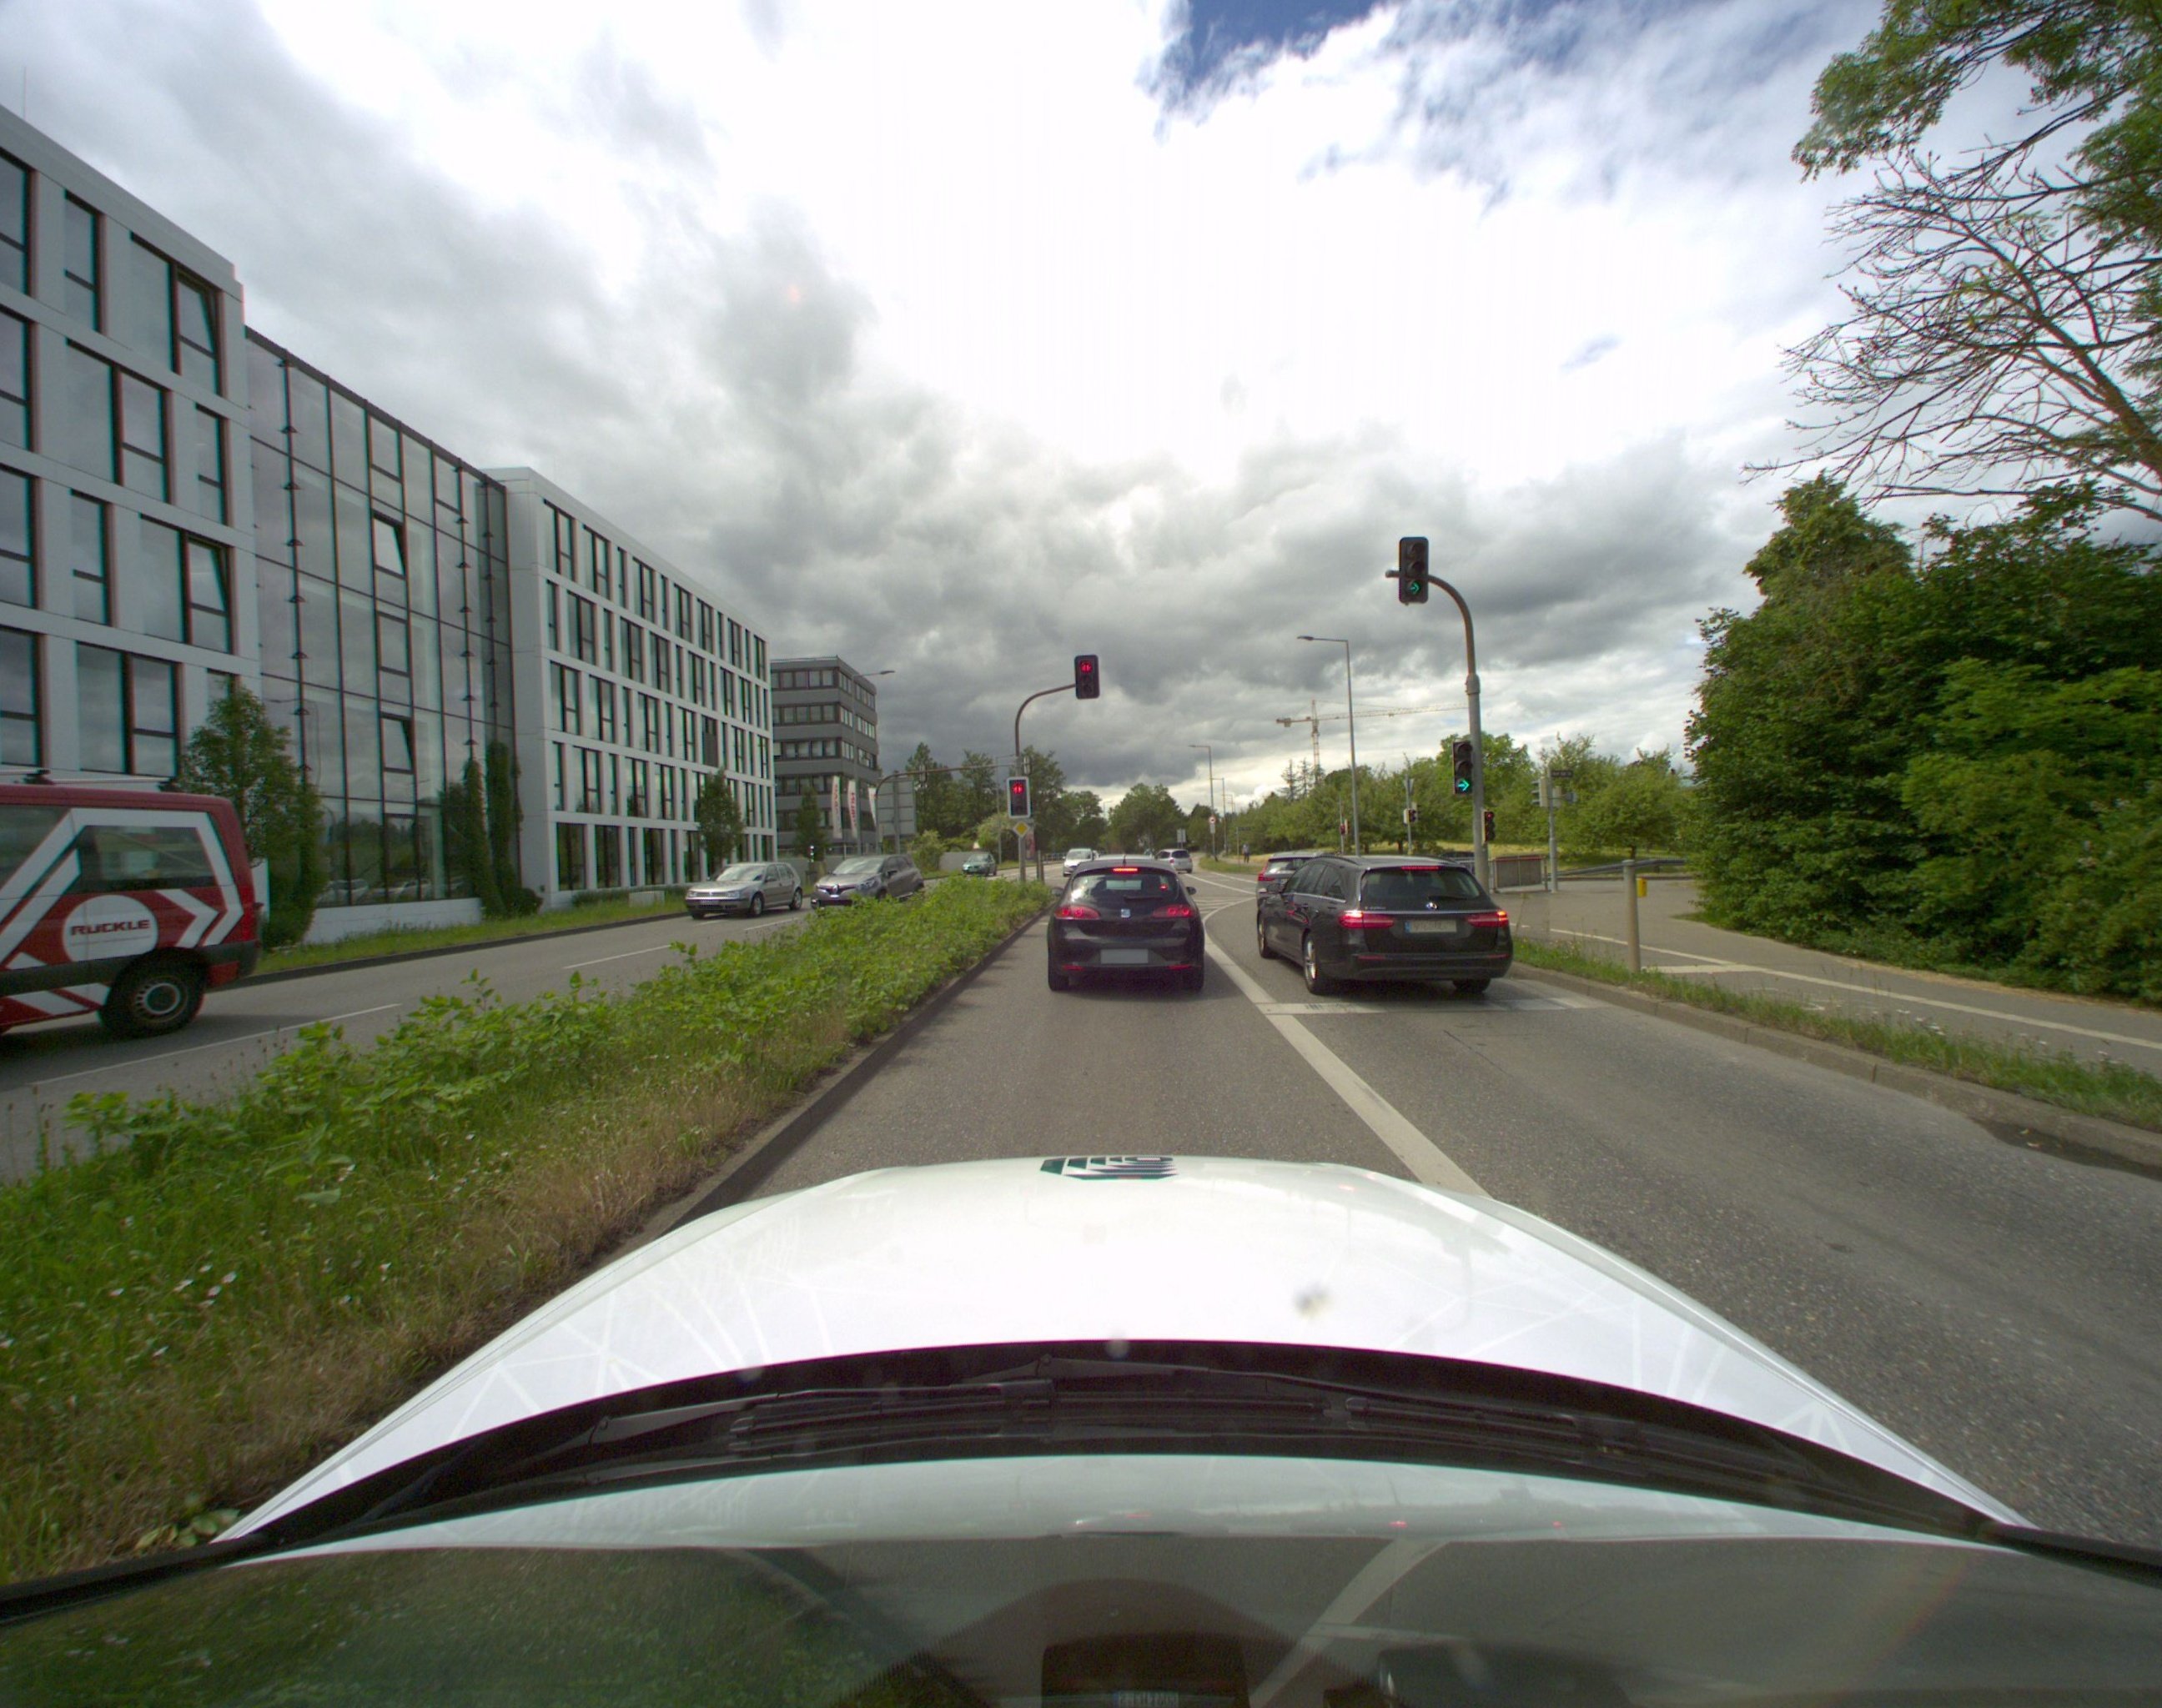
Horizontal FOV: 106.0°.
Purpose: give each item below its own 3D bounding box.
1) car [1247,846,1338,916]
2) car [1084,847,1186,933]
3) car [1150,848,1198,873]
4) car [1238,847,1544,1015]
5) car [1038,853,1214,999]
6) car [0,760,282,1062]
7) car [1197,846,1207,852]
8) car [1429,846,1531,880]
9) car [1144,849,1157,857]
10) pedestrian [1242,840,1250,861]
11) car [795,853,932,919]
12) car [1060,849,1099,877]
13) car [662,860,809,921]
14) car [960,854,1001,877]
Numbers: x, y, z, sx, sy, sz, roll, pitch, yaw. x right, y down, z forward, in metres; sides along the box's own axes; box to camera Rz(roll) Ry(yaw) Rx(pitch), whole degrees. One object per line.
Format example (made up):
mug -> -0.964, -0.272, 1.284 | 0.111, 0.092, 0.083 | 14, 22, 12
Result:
car -> 5.275, 0.604, 20.786 | 1.851, 1.518, 4.459 | -3, 0, 10
car -> 0.995, 0.648, 16.617 | 1.767, 1.491, 3.581 | -3, 0, 0
car -> 6.080, 0.421, 53.539 | 1.995, 1.530, 3.984 | -2, 0, -11
car -> 3.318, 0.686, 9.999 | 1.865, 1.440, 5.202 | -3, 0, 2
car -> 0.523, 0.730, 10.099 | 1.766, 1.451, 3.584 | -1, 0, 2
car -> -9.658, 0.488, 6.103 | 1.986, 2.412, 5.242 | -2, 0, 2
car -> 27.397, -1.159, 184.640 | 1.981, 1.352, 4.011 | -1, 0, 10
car -> 20.279, 0.459, 41.569 | 4.275, 1.525, 2.007 | -2, 0, 12
car -> 13.157, -0.186, 154.325 | 1.981, 1.352, 4.011 | -1, 0, 10
pedestrian -> 13.430, -0.305, 66.321 | 0.556, 1.726, 0.588 | -1, 0, 3
car -> -5.639, 0.772, 21.651 | 1.923, 1.516, 4.012 | -2, 0, 10
car -> -0.055, 0.498, 49.753 | 1.984, 1.596, 4.006 | -2, 0, 5
car -> -9.154, 0.913, 21.974 | 1.985, 1.354, 4.005 | -2, 0, 4
car -> -6.449, 0.735, 52.580 | 1.986, 1.352, 4.002 | -1, 0, 2
